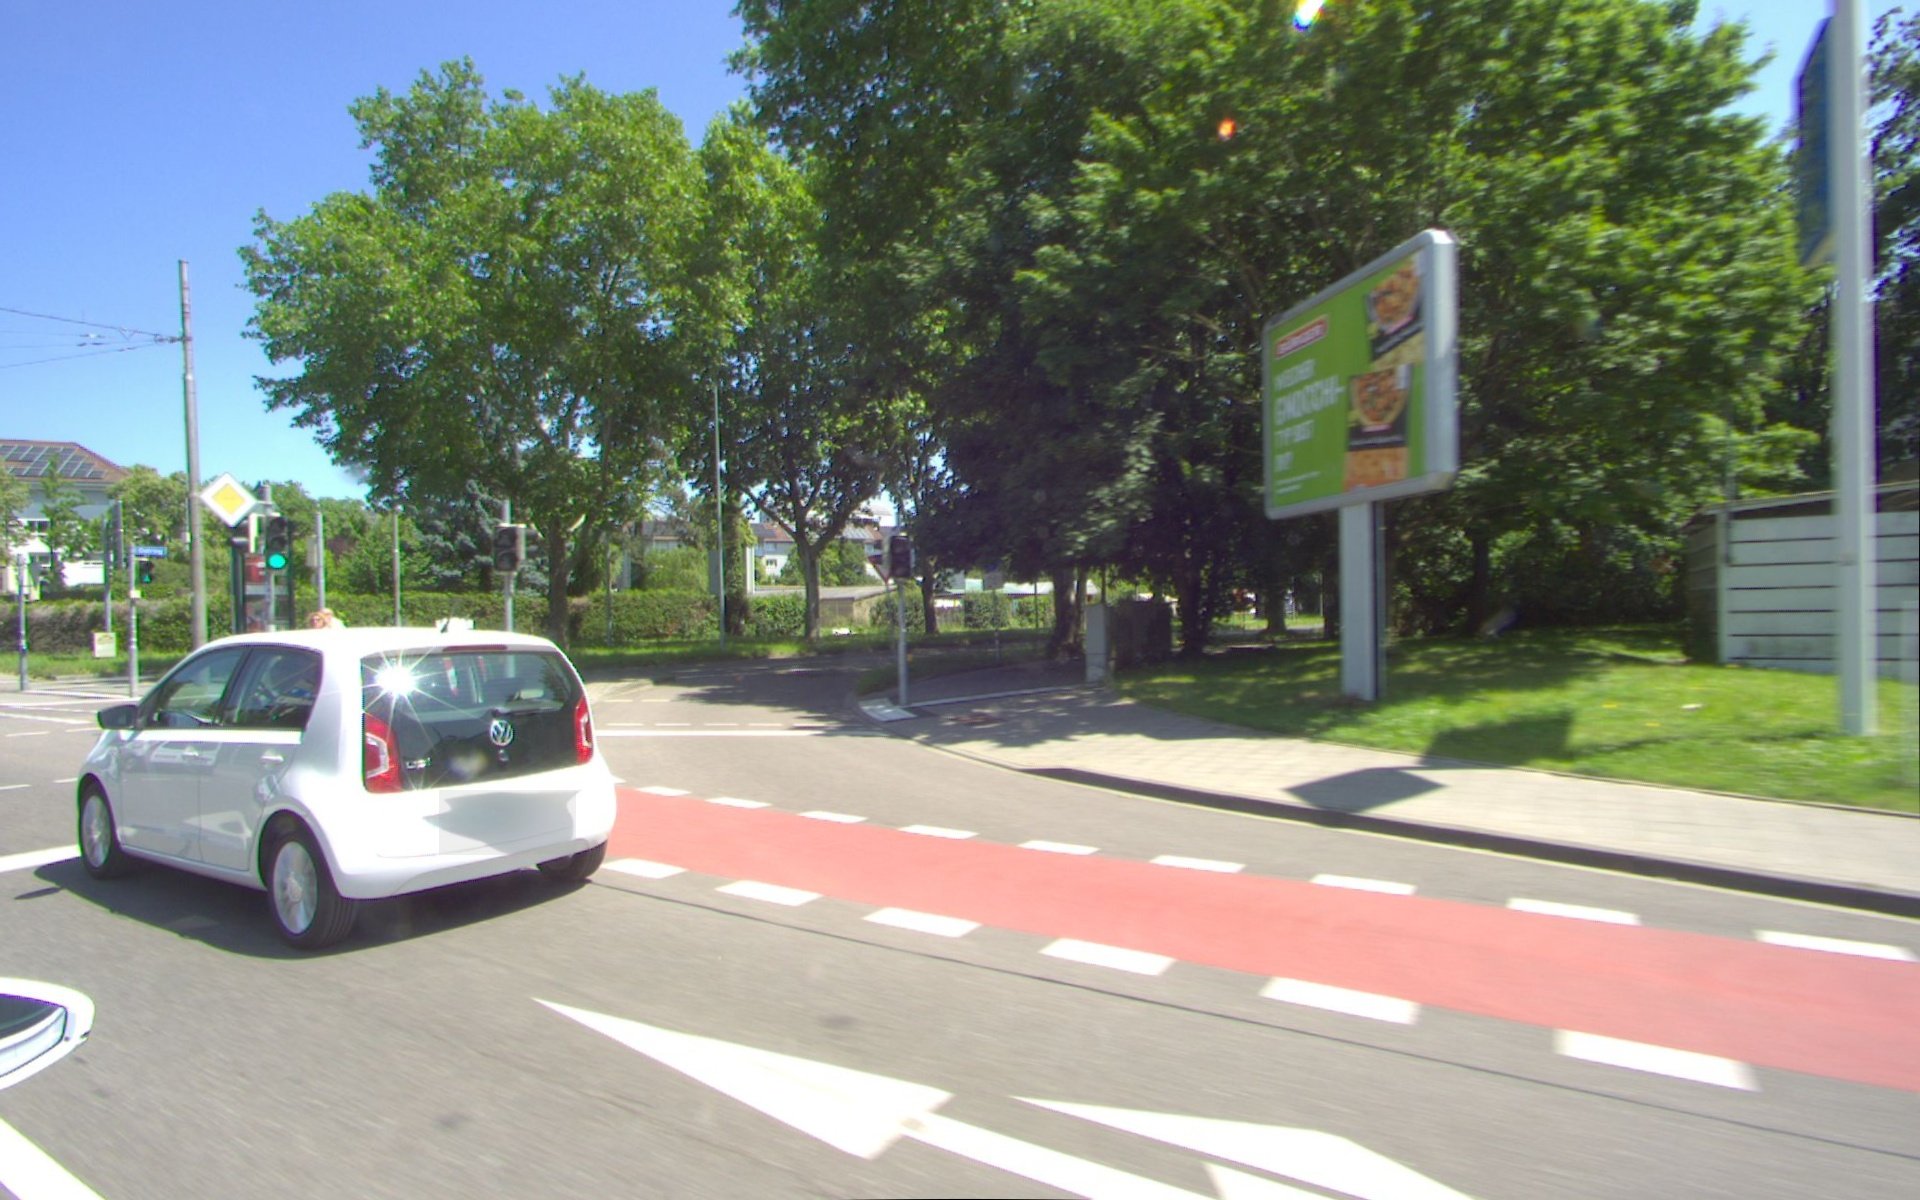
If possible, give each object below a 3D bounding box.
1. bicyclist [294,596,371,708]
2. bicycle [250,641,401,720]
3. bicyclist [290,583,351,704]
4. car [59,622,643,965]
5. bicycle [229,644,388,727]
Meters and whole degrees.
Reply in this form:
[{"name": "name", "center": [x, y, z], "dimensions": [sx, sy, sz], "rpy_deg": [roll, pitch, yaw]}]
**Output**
[{"name": "bicyclist", "center": [-10.544, 0.862, 16.833], "dimensions": [0.962, 1.811, 0.723], "rpy_deg": [-1, 0, 30]}, {"name": "bicycle", "center": [-10.590, 1.311, 16.786], "dimensions": [0.881, 1.174, 1.947], "rpy_deg": [-1, -1, 29]}, {"name": "bicyclist", "center": [-9.854, 0.669, 15.432], "dimensions": [0.758, 1.810, 0.574], "rpy_deg": [-1, -2, 40]}, {"name": "car", "center": [-3.651, 0.871, 5.898], "dimensions": [3.386, 1.466, 1.607], "rpy_deg": [-1, -2, 32]}, {"name": "bicycle", "center": [-9.919, 1.259, 15.299], "dimensions": [0.884, 1.139, 1.859], "rpy_deg": [-1, -1, 39]}]
